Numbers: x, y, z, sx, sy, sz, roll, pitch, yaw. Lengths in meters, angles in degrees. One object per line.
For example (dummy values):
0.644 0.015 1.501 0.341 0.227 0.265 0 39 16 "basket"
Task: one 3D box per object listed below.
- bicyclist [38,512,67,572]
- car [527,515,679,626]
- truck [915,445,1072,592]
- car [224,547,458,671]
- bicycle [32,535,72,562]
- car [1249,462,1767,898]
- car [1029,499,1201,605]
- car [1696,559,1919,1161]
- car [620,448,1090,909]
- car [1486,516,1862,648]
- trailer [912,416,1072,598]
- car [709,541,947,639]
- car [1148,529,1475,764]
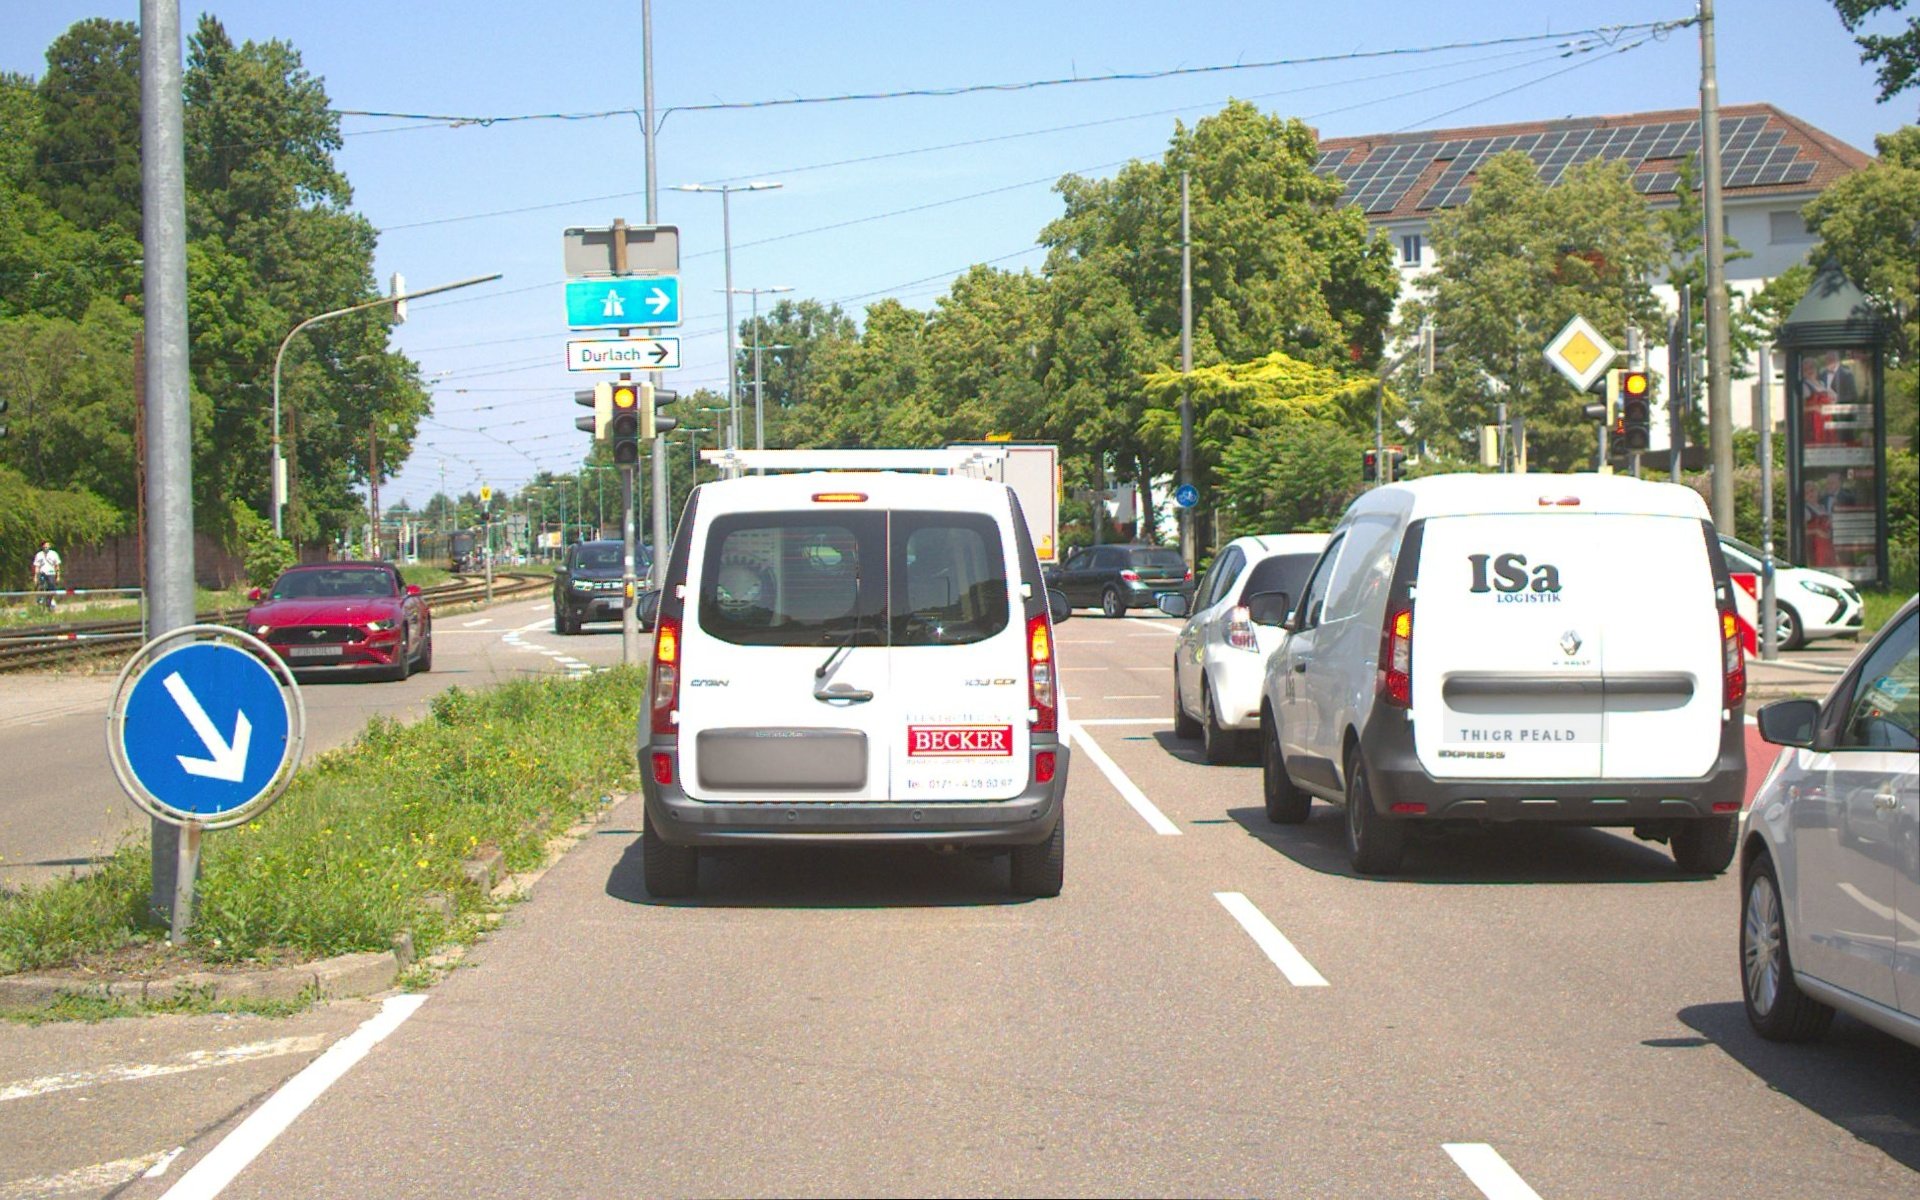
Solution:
-22.619 -1.447 85.667 0.558 1.473 0.561 -1 1 -1 "bicyclist"
-6.298 -0.530 60.293 1.993 1.853 4.001 -1 1 -16 "car"
0.784 -2.131 90.385 3.575 3.620 8.810 -1 1 -3 "truck"
-7.338 0.069 41.163 1.984 1.354 4.539 -1 1 0 "car"
-22.613 -1.281 85.642 0.561 0.645 1.720 -1 1 -1 "bicycle"
2.487 0.295 16.535 1.710 1.824 4.014 -1 1 -2 "car"
3.022 -0.958 67.793 1.993 2.007 4.001 -1 1 -20 "car"
3.134 0.629 9.050 1.607 1.446 3.521 0 1 0 "car"
-0.486 0.273 15.601 1.866 1.829 3.849 0 1 -2 "car"
9.139 -0.235 43.944 4.445 1.612 1.998 0 1 20 "car"
0.813 -2.179 81.588 3.528 4.037 8.977 -1 1 1 "trailer"
-1.987 -0.168 50.599 1.539 1.374 4.002 -1 1 -36 "car"
2.366 0.257 24.040 1.756 1.481 4.000 -1 1 -1 "car"
